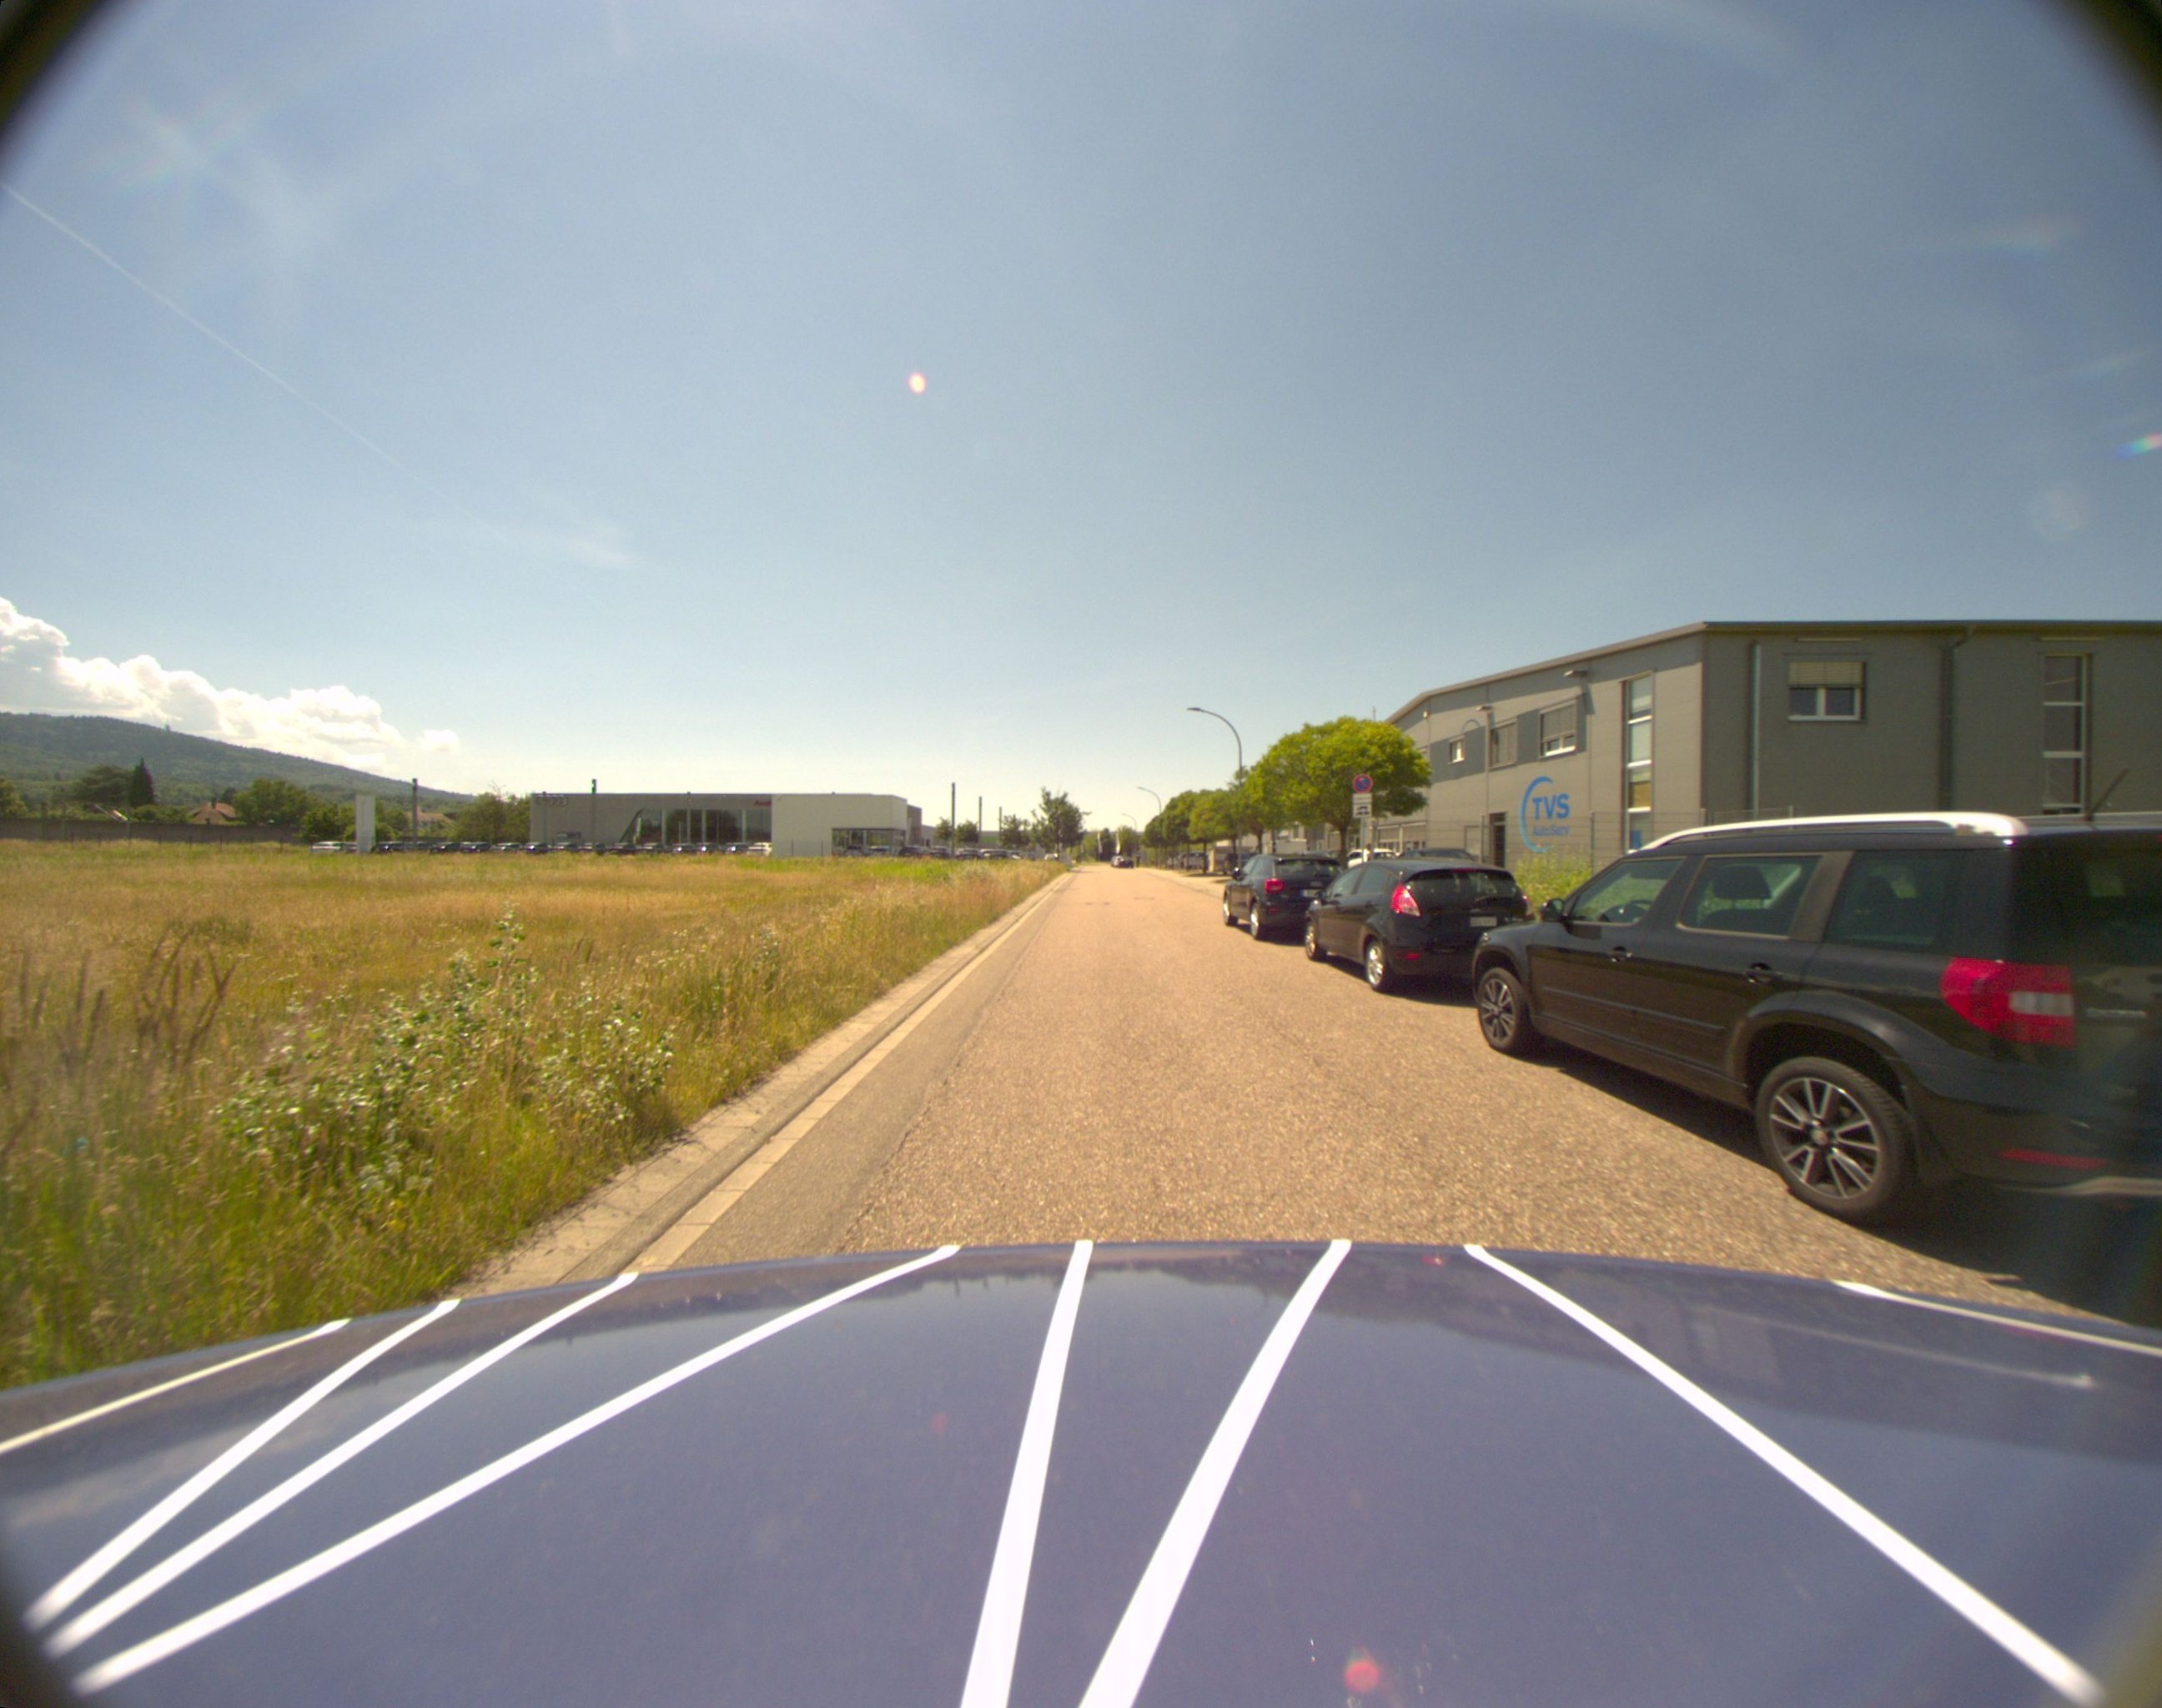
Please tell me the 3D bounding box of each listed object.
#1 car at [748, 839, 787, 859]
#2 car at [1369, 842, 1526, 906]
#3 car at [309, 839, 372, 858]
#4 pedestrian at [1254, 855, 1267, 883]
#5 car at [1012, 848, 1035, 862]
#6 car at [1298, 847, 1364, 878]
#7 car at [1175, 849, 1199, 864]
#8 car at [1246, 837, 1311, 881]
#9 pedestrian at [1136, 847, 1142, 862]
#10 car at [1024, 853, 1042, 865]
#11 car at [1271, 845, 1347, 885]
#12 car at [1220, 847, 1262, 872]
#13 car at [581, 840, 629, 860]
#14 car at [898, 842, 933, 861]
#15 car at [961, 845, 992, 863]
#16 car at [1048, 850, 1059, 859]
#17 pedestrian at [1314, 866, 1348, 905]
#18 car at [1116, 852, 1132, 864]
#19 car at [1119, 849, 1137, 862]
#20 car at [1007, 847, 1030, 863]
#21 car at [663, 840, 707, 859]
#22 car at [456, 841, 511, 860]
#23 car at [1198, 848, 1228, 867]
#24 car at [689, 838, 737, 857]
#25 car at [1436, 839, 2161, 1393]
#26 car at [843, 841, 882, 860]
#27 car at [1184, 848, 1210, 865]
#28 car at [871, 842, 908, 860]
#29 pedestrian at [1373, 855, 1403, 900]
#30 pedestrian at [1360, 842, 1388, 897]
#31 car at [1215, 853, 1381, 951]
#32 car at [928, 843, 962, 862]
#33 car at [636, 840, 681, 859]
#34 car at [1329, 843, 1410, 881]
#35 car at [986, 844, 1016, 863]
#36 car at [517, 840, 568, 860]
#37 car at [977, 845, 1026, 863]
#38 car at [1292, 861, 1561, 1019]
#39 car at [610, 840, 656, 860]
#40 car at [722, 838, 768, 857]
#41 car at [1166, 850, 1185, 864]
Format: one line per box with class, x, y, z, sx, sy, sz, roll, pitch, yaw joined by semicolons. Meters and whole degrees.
car;-29.345;-0.456;71.296;1.998;1.774;4.000;1;0;1
car;9.700;0.477;20.606;1.932;1.456;4.691;-2;0;0
car;-70.231;-0.506;72.137;1.998;1.774;4.000;1;0;1
pedestrian;7.707;0.654;32.679;0.479;1.144;0.555;-3;3;11
car;-6.644;0.108;88.309;2.030;1.505;5.239;3;0;1
car;12.616;0.418;38.588;1.932;1.432;4.086;-2;0;-1
car;10.537;0.272;75.607;1.687;1.491;3.703;0;0;-4
car;9.983;0.227;38.820;1.842;2.007;5.125;-2;0;-1
pedestrian;7.092;0.083;92.847;0.746;1.791;1.135;-2;0;3
car;-6.348;0.639;100.361;1.966;1.448;4.986;1;0;1
car;9.827;0.414;33.087;1.931;1.432;4.840;-3;1;2
car;10.294;0.327;49.253;1.770;1.445;4.714;-2;0;1
car;-44.801;-0.402;71.617;1.998;1.774;4.000;1;0;1
car;-15.461;-0.247;71.281;2.029;1.670;4.809;2;0;2
car;-9.788;0.023;71.466;2.029;1.601;4.809;2;0;2
car;-5.168;0.051;143.362;1.824;1.519;4.944;2;0;0
pedestrian;7.345;0.915;22.349;0.752;1.092;0.646;-3;1;5
car;5.405;0.467;96.431;1.829;1.491;4.259;1;0;1
car;5.592;0.211;90.584;1.829;1.491;4.526;1;0;1
car;-6.798;0.093;82.853;2.030;1.564;4.779;2;0;1
car;-37.196;-0.424;71.505;1.998;1.774;4.000;1;0;1
car;-56.514;-0.355;71.953;1.998;1.774;4.000;1;0;1
car;10.336;0.255;59.820;1.770;1.445;3.840;-1;0;2
car;-34.629;-0.618;71.669;2.029;1.715;4.809;2;0;2
car;3.856;0.792;4.375;1.681;1.653;4.236;1;0;1
car;-20.623;-0.319;71.855;2.029;1.644;4.809;2;0;2
car;10.754;0.225;70.678;1.770;1.564;4.540;-1;0;1
car;-18.046;-0.281;71.736;2.029;1.644;4.809;2;0;2
pedestrian;8.389;0.641;20.778;0.507;1.185;0.753;-3;1;3
pedestrian;8.635;0.454;22.410;0.507;1.586;0.753;-3;1;3
car;3.878;0.775;14.384;1.932;1.558;4.189;1;0;0
car;-12.726;-0.139;71.428;2.029;1.715;4.809;2;0;2
car;-39.793;-0.412;71.622;1.998;1.774;4.000;1;0;1
car;12.503;0.317;33.214;1.931;1.456;4.465;-2;0;2
car;-7.480;-0.055;71.564;2.029;1.683;5.109;2;0;2
car;-50.939;-0.371;71.953;1.998;1.774;4.000;1;0;1
car;-7.886;0.015;75.439;4.539;1.683;2.031;2;0;1
car;3.895;0.860;9.318;1.594;1.484;3.833;1;0;1
car;-42.202;-0.403;71.690;1.998;1.774;4.000;1;0;1
car;-31.754;-0.620;71.899;2.029;1.715;4.809;2;0;2
car;10.777;0.303;86.731;1.828;1.491;4.328;-2;0;3
